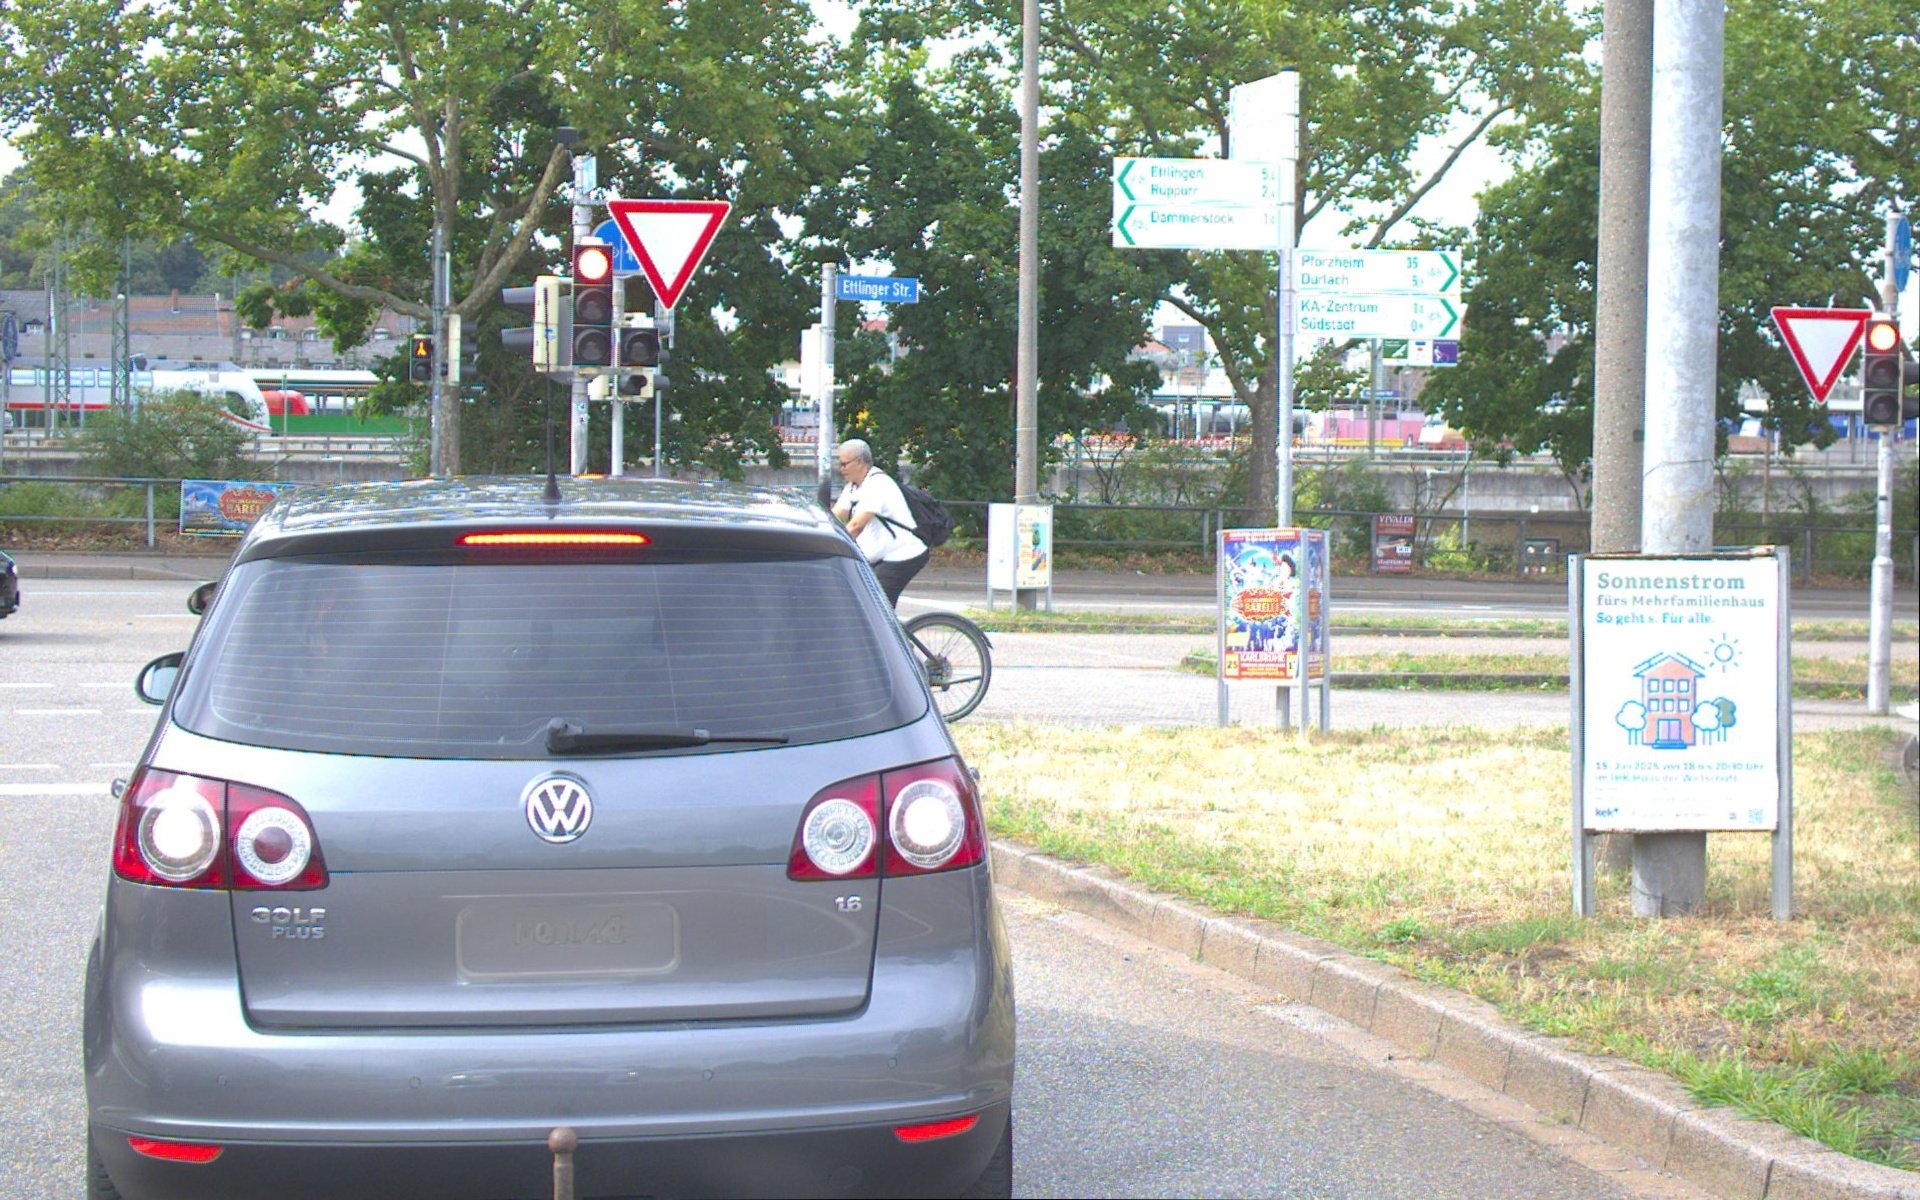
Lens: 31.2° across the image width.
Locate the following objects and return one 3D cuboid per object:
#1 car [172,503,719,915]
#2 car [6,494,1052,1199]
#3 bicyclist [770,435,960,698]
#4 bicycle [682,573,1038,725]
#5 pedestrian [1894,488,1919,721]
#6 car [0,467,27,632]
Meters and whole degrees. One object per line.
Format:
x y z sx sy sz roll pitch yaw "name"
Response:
-2.310 0.334 14.514 1.740 1.477 4.083 0 2 -16 "car"
-1.014 0.542 7.799 1.740 1.541 4.083 0 2 -9 "car"
-0.630 -0.229 22.577 1.112 1.690 0.813 0 2 -12 "bicyclist"
-0.667 0.307 22.578 2.227 0.949 0.812 0 2 -12 "bicycle"
7.525 0.035 25.540 1.048 1.704 0.853 2 2 17 "pedestrian"
-9.949 -0.438 28.525 4.056 1.363 1.703 0 2 -23 "car"
